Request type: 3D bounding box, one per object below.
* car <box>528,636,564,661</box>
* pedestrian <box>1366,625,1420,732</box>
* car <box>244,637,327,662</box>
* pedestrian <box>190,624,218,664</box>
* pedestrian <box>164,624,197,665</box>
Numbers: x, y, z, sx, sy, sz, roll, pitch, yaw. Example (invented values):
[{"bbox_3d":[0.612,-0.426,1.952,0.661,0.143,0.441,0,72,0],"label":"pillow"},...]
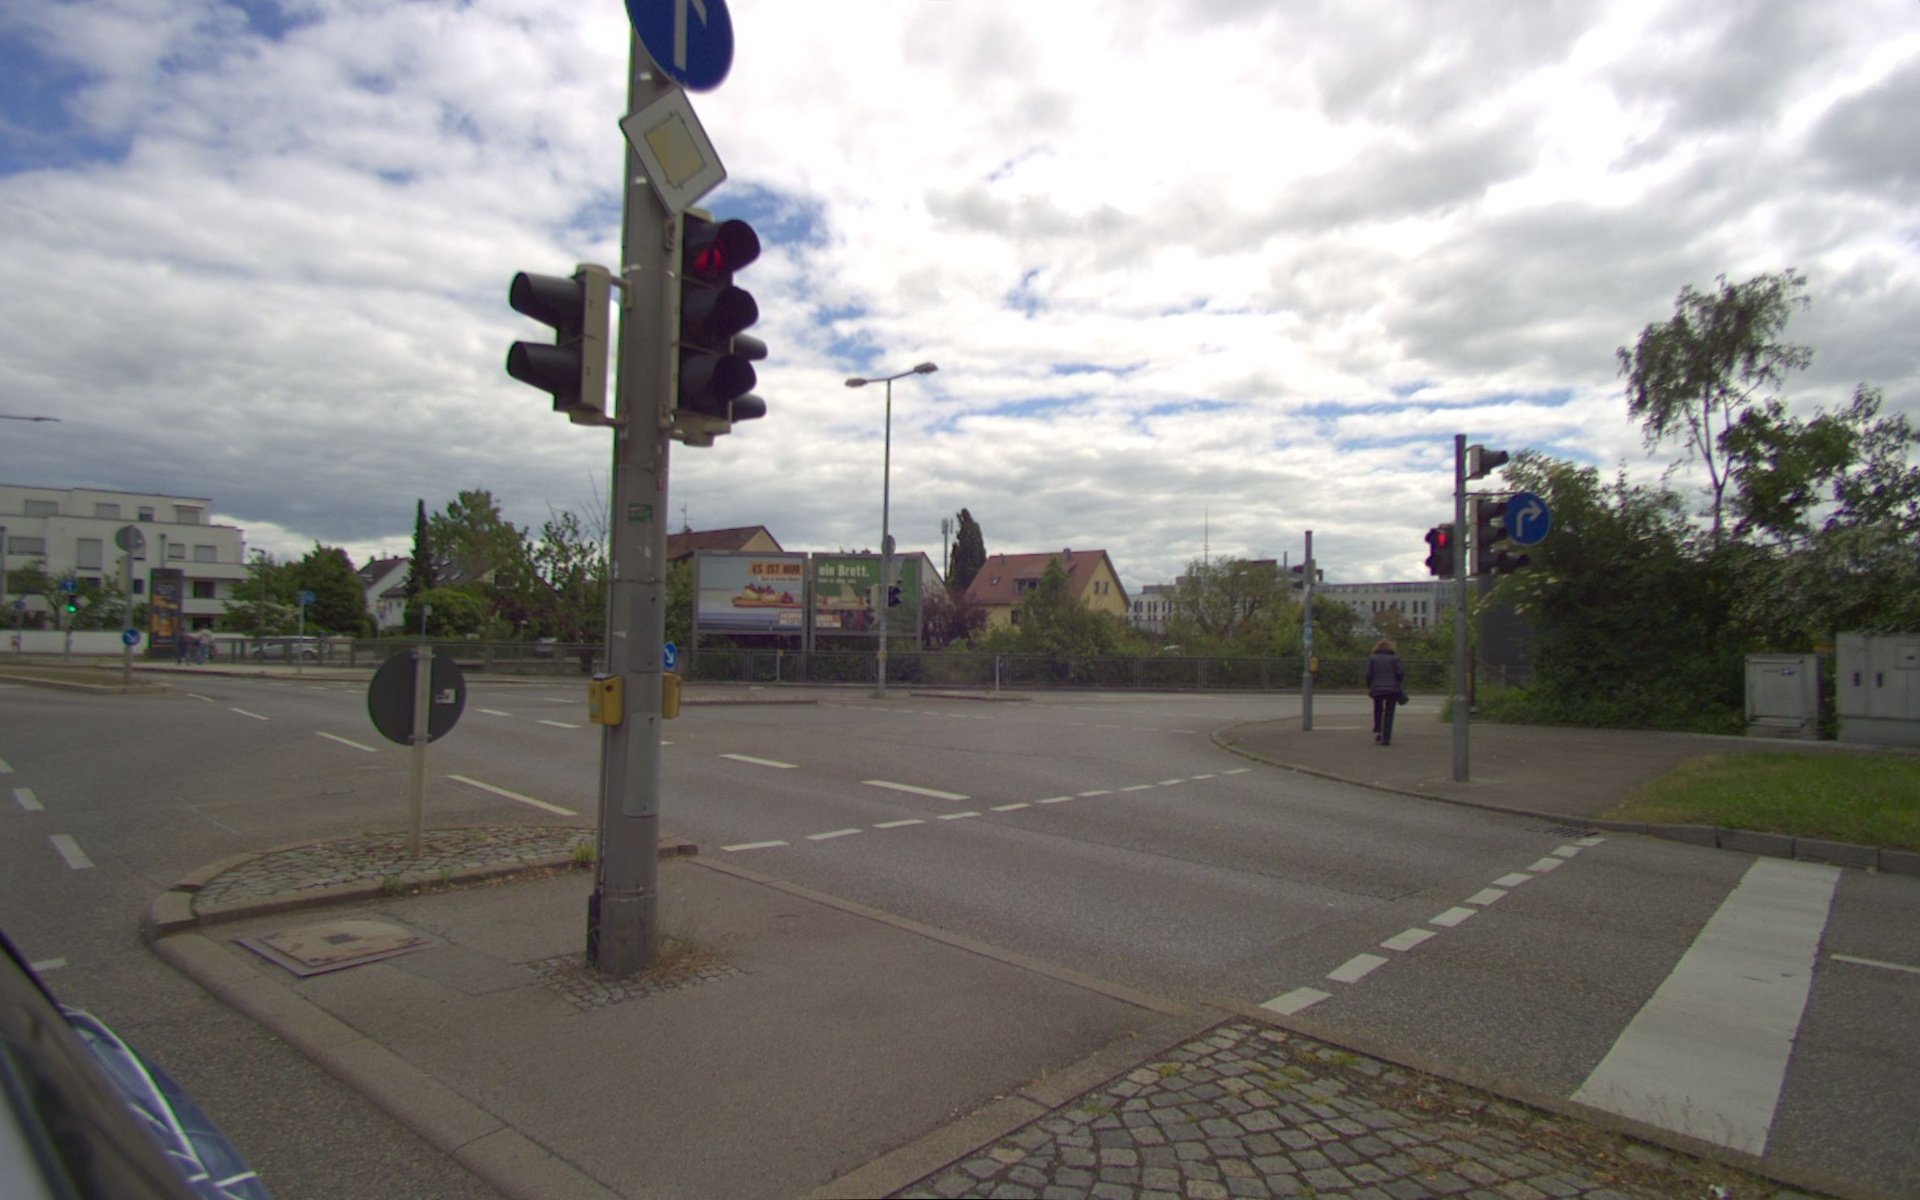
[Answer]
[{"bbox_3d":[-31.732,3.704,77.702,1.758,1.592,4.009,-2,1,-10],"label":"car"},{"bbox_3d":[6.111,1.086,14.276,0.598,1.418,0.768,-1,1,29],"label":"pedestrian"},{"bbox_3d":[-43.399,3.185,65.220,4.061,1.547,1.652,2,-3,-13],"label":"car"},{"bbox_3d":[-31.820,1.852,42.587,0.828,1.645,0.652,-1,0,25],"label":"pedestrian"},{"bbox_3d":[-32.262,1.838,41.881,1.065,1.645,0.652,-1,0,26],"label":"pedestrian"}]
